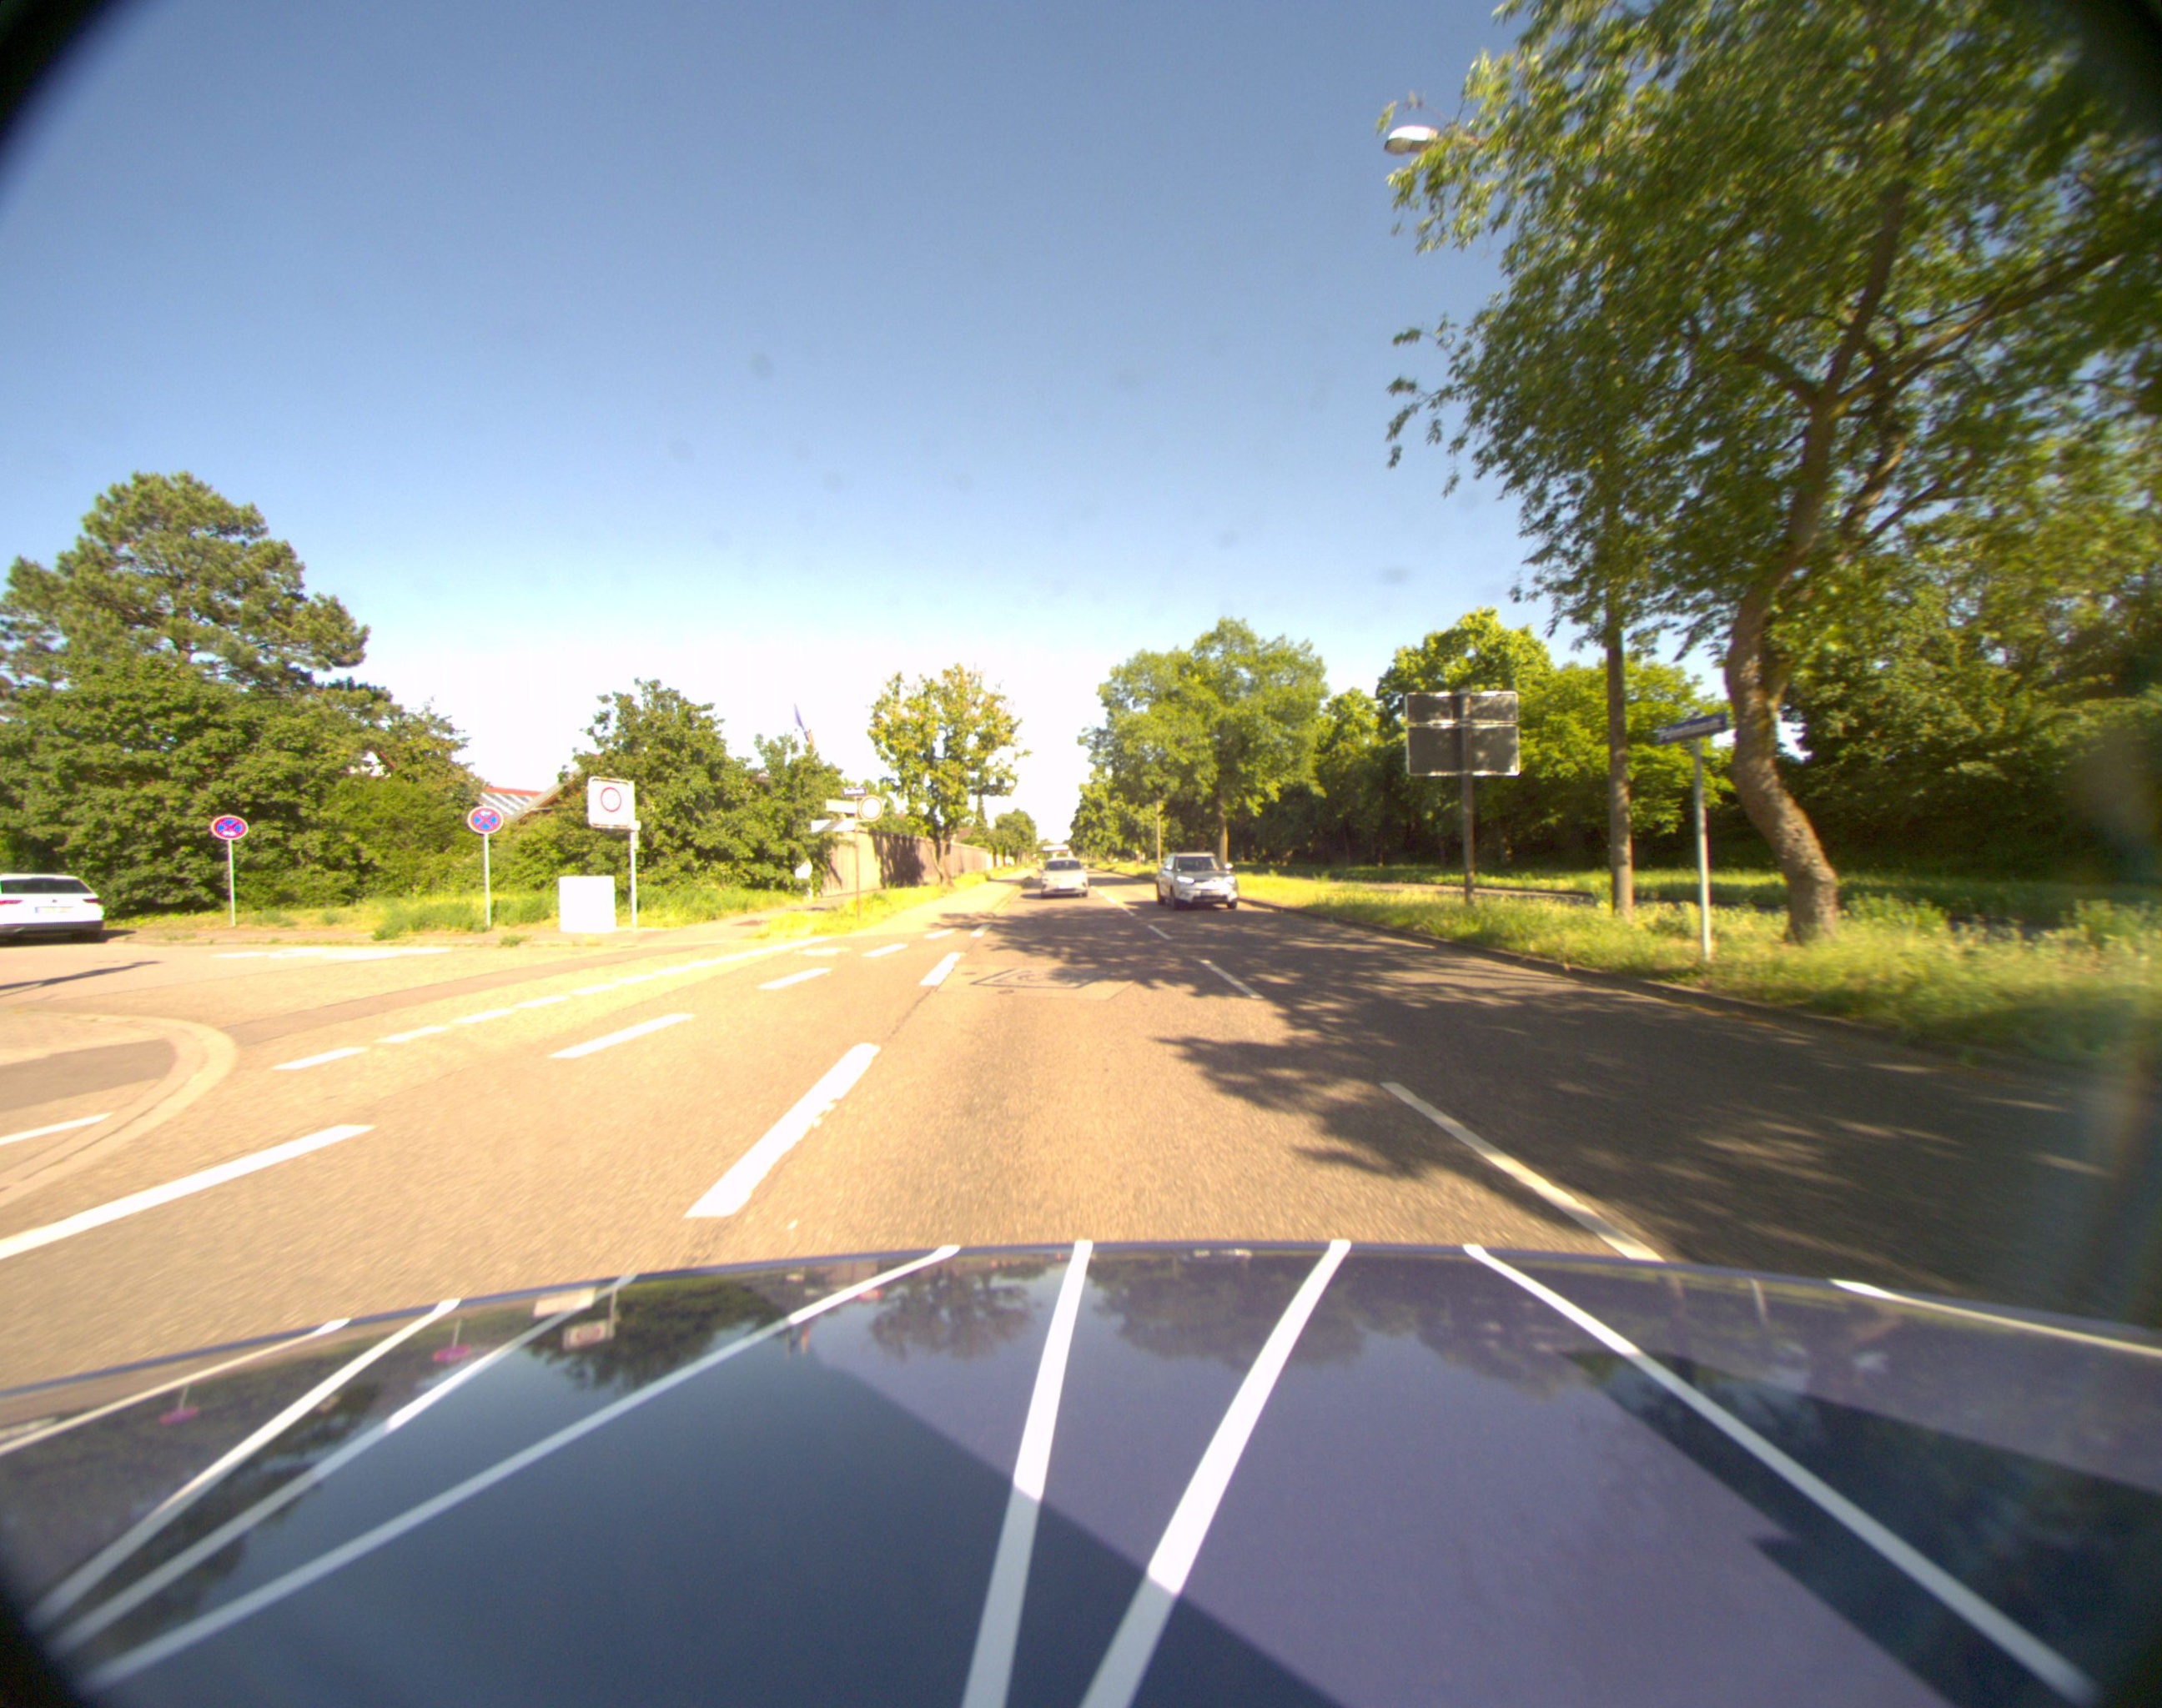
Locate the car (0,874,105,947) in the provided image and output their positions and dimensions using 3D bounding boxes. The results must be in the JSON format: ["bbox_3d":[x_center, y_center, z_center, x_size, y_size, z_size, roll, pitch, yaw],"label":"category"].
[{"bbox_3d":[-24.509,1.345,17.060,3.917,1.475,1.845,-4,0,17],"label":"car"}]

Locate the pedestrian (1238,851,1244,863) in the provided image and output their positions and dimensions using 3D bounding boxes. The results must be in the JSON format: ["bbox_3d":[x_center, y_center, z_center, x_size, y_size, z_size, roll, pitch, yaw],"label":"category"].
[{"bbox_3d":[23.875,0.422,113.425,0.682,1.650,0.680,-5,3,14],"label":"pedestrian"}]

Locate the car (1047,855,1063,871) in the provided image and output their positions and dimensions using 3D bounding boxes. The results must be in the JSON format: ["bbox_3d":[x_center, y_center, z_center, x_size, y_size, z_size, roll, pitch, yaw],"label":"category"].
[{"bbox_3d":[-3.005,1.024,87.594,1.766,1.606,4.295,-5,1,-2],"label":"car"}]

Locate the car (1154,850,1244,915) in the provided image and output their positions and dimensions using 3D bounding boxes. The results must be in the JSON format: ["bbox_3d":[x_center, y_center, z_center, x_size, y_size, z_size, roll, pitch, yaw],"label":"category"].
[{"bbox_3d":[3.313,0.737,22.142,1.789,1.601,4.104,-3,1,-2],"label":"car"}]

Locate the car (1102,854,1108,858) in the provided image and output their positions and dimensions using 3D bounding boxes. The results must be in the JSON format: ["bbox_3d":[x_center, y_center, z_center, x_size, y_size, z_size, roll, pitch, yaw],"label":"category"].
[{"bbox_3d":[7.670,0.682,243.555,1.731,1.448,4.344,-1,0,-2],"label":"car"}]

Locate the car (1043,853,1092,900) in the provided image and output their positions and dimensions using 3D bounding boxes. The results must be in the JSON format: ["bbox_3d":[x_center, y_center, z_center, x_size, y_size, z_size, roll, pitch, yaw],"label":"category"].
[{"bbox_3d":[-0.592,0.866,31.293,1.766,1.606,4.295,-5,1,-2],"label":"car"}]

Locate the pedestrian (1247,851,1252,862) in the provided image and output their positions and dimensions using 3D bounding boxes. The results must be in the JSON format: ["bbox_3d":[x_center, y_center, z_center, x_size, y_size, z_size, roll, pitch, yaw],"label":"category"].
[{"bbox_3d":[25.128,0.401,113.309,0.560,1.650,0.540,-4,2,10],"label":"pedestrian"}]
